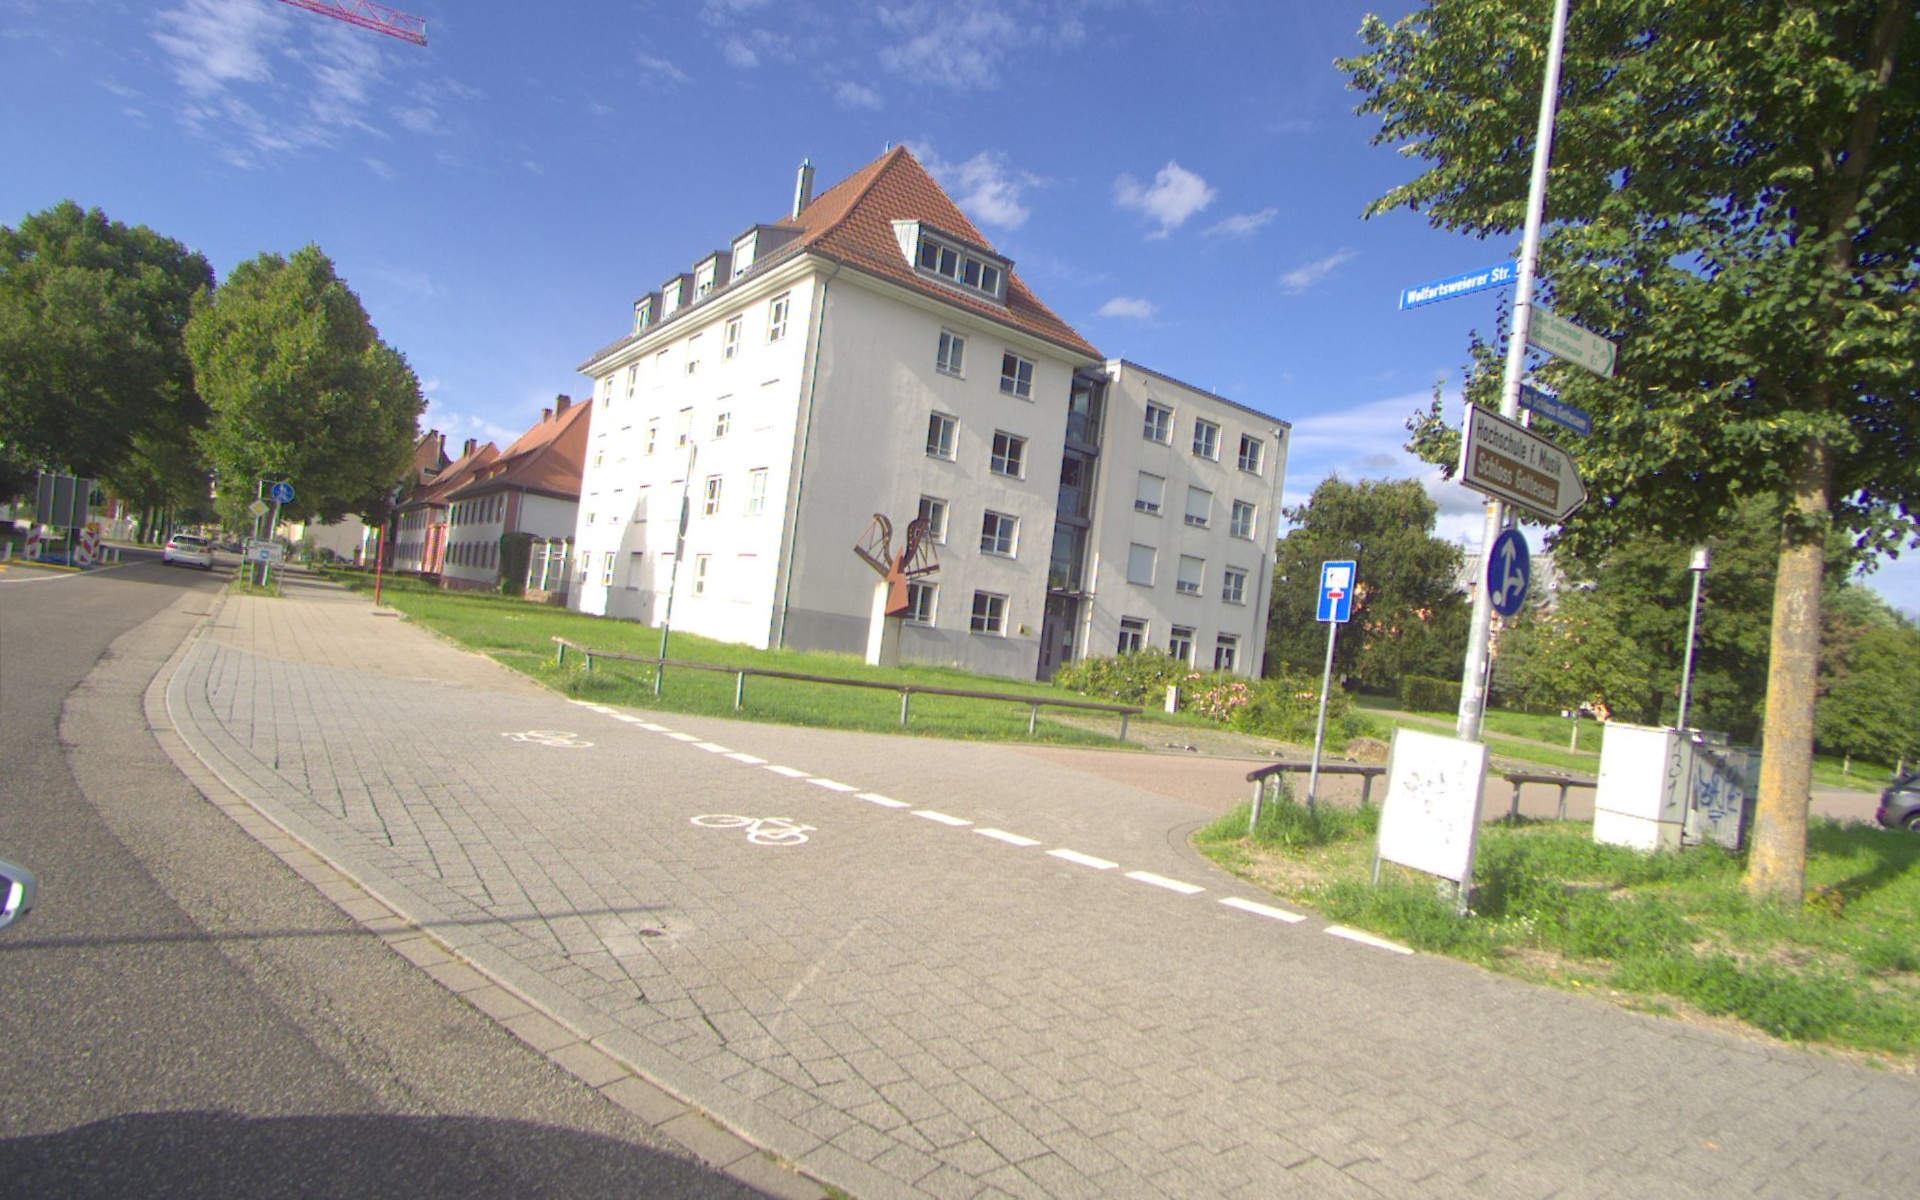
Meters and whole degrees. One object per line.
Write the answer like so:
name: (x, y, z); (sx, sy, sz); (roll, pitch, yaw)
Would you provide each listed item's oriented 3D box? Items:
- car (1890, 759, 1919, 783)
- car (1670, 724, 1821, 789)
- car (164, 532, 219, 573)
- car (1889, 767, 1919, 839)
car: (63.481, 11.384, 65.482); (1.765, 1.350, 3.963); (8, -2, -35)
car: (34.434, 6.837, 44.237); (1.860, 2.034, 4.773); (10, -5, -32)
car: (-36.644, -2.247, 48.007); (1.843, 1.589, 4.411); (10, -4, -37)
car: (21.624, 4.413, 19.859); (1.844, 1.397, 4.475); (8, -2, -34)
